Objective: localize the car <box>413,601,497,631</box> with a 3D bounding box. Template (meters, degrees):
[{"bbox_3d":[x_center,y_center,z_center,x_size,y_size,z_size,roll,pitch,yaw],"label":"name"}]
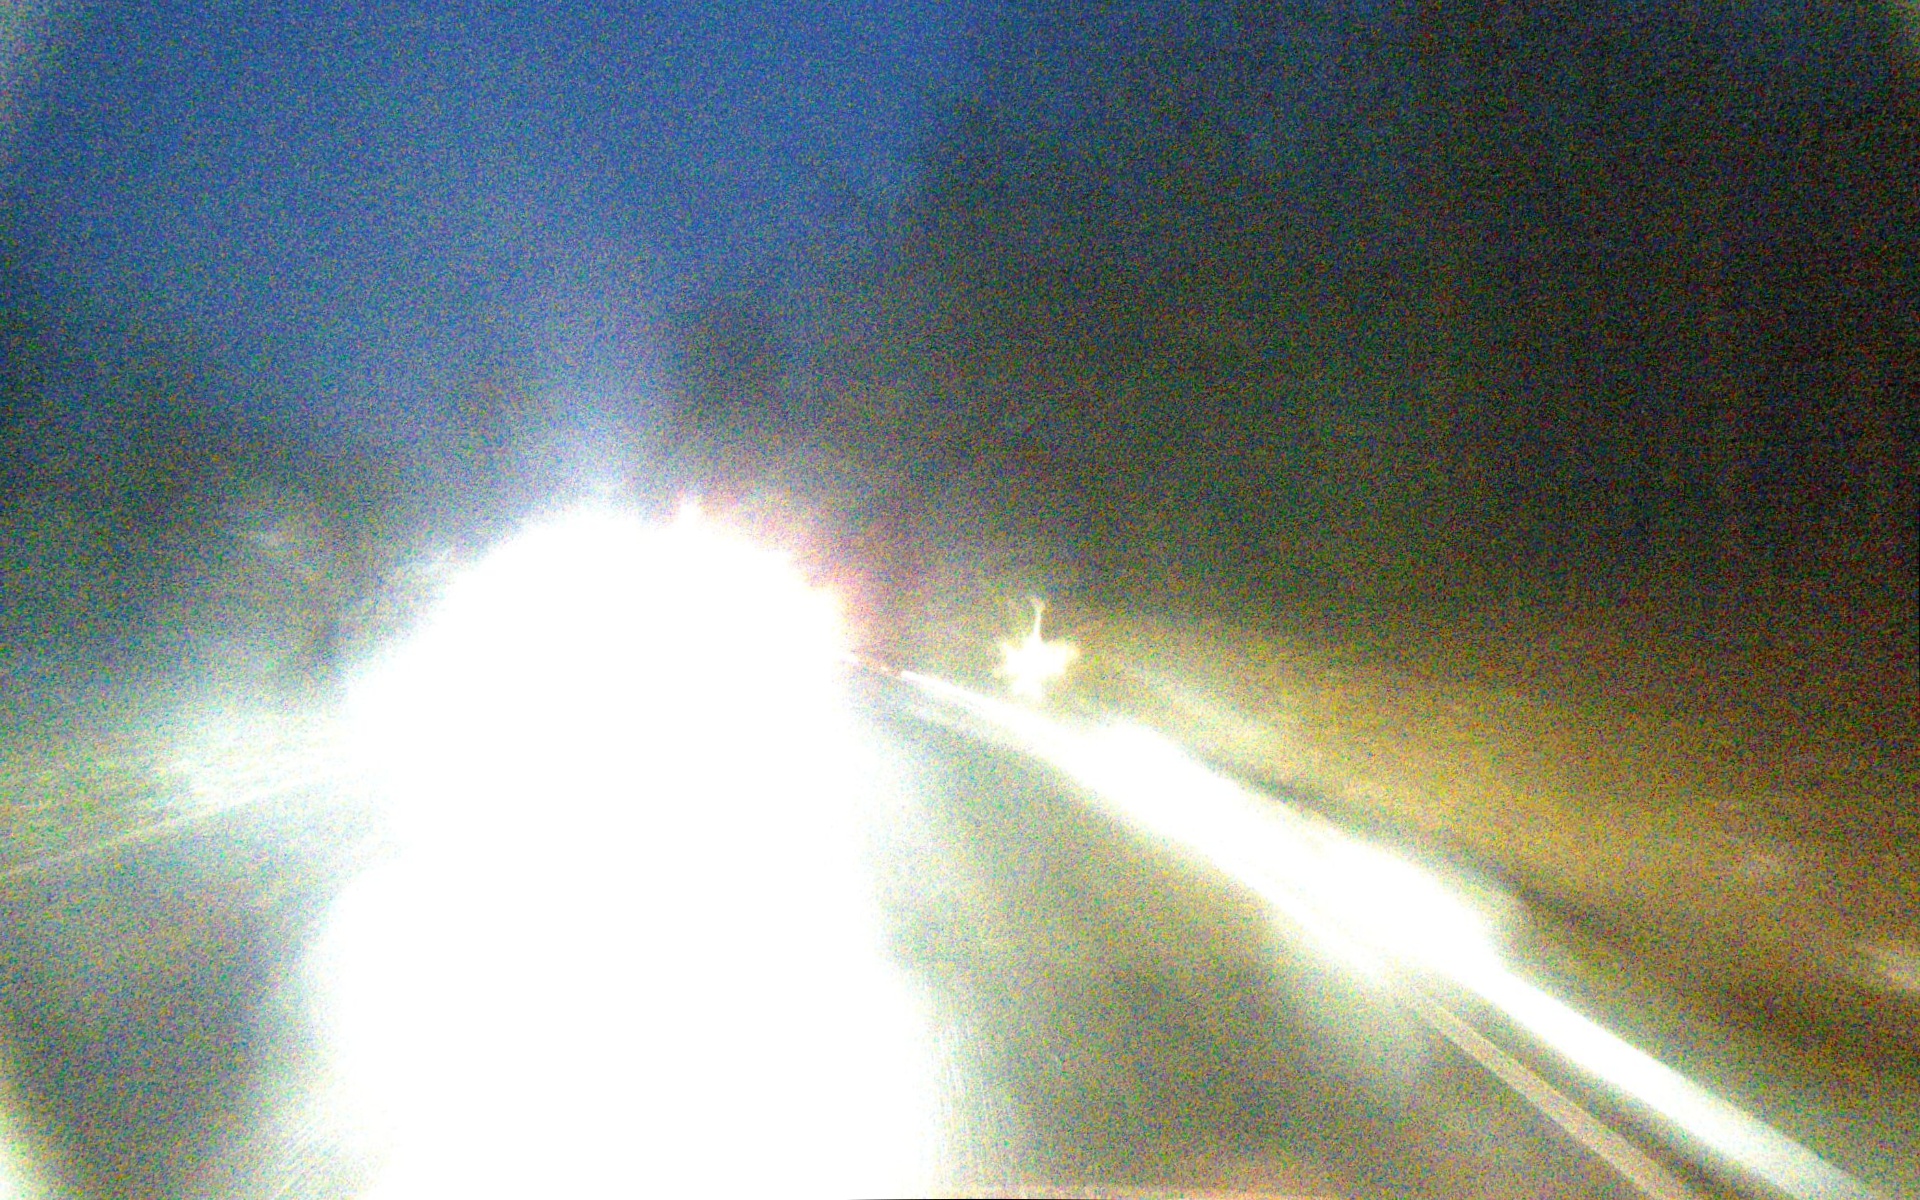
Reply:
[{"bbox_3d":[-30.604,0.962,100.199,4.839,1.765,1.989,0,1,-20],"label":"car"}]

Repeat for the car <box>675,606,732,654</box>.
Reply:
[{"bbox_3d":[-11.643,1.368,74.986,1.962,2.049,3.981,3,-2,-17],"label":"car"}]

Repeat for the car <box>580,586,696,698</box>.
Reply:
[{"bbox_3d":[-6.513,0.848,33.898,1.956,2.049,4.836,2,-1,-8],"label":"car"}]

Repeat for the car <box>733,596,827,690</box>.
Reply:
[{"bbox_3d":[-5.507,1.200,49.912,2.492,2.541,5.702,0,1,-10],"label":"car"}]

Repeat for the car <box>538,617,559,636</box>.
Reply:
[{"bbox_3d":[-43.397,2.819,174.383,1.726,1.764,3.980,3,1,-18],"label":"car"}]
